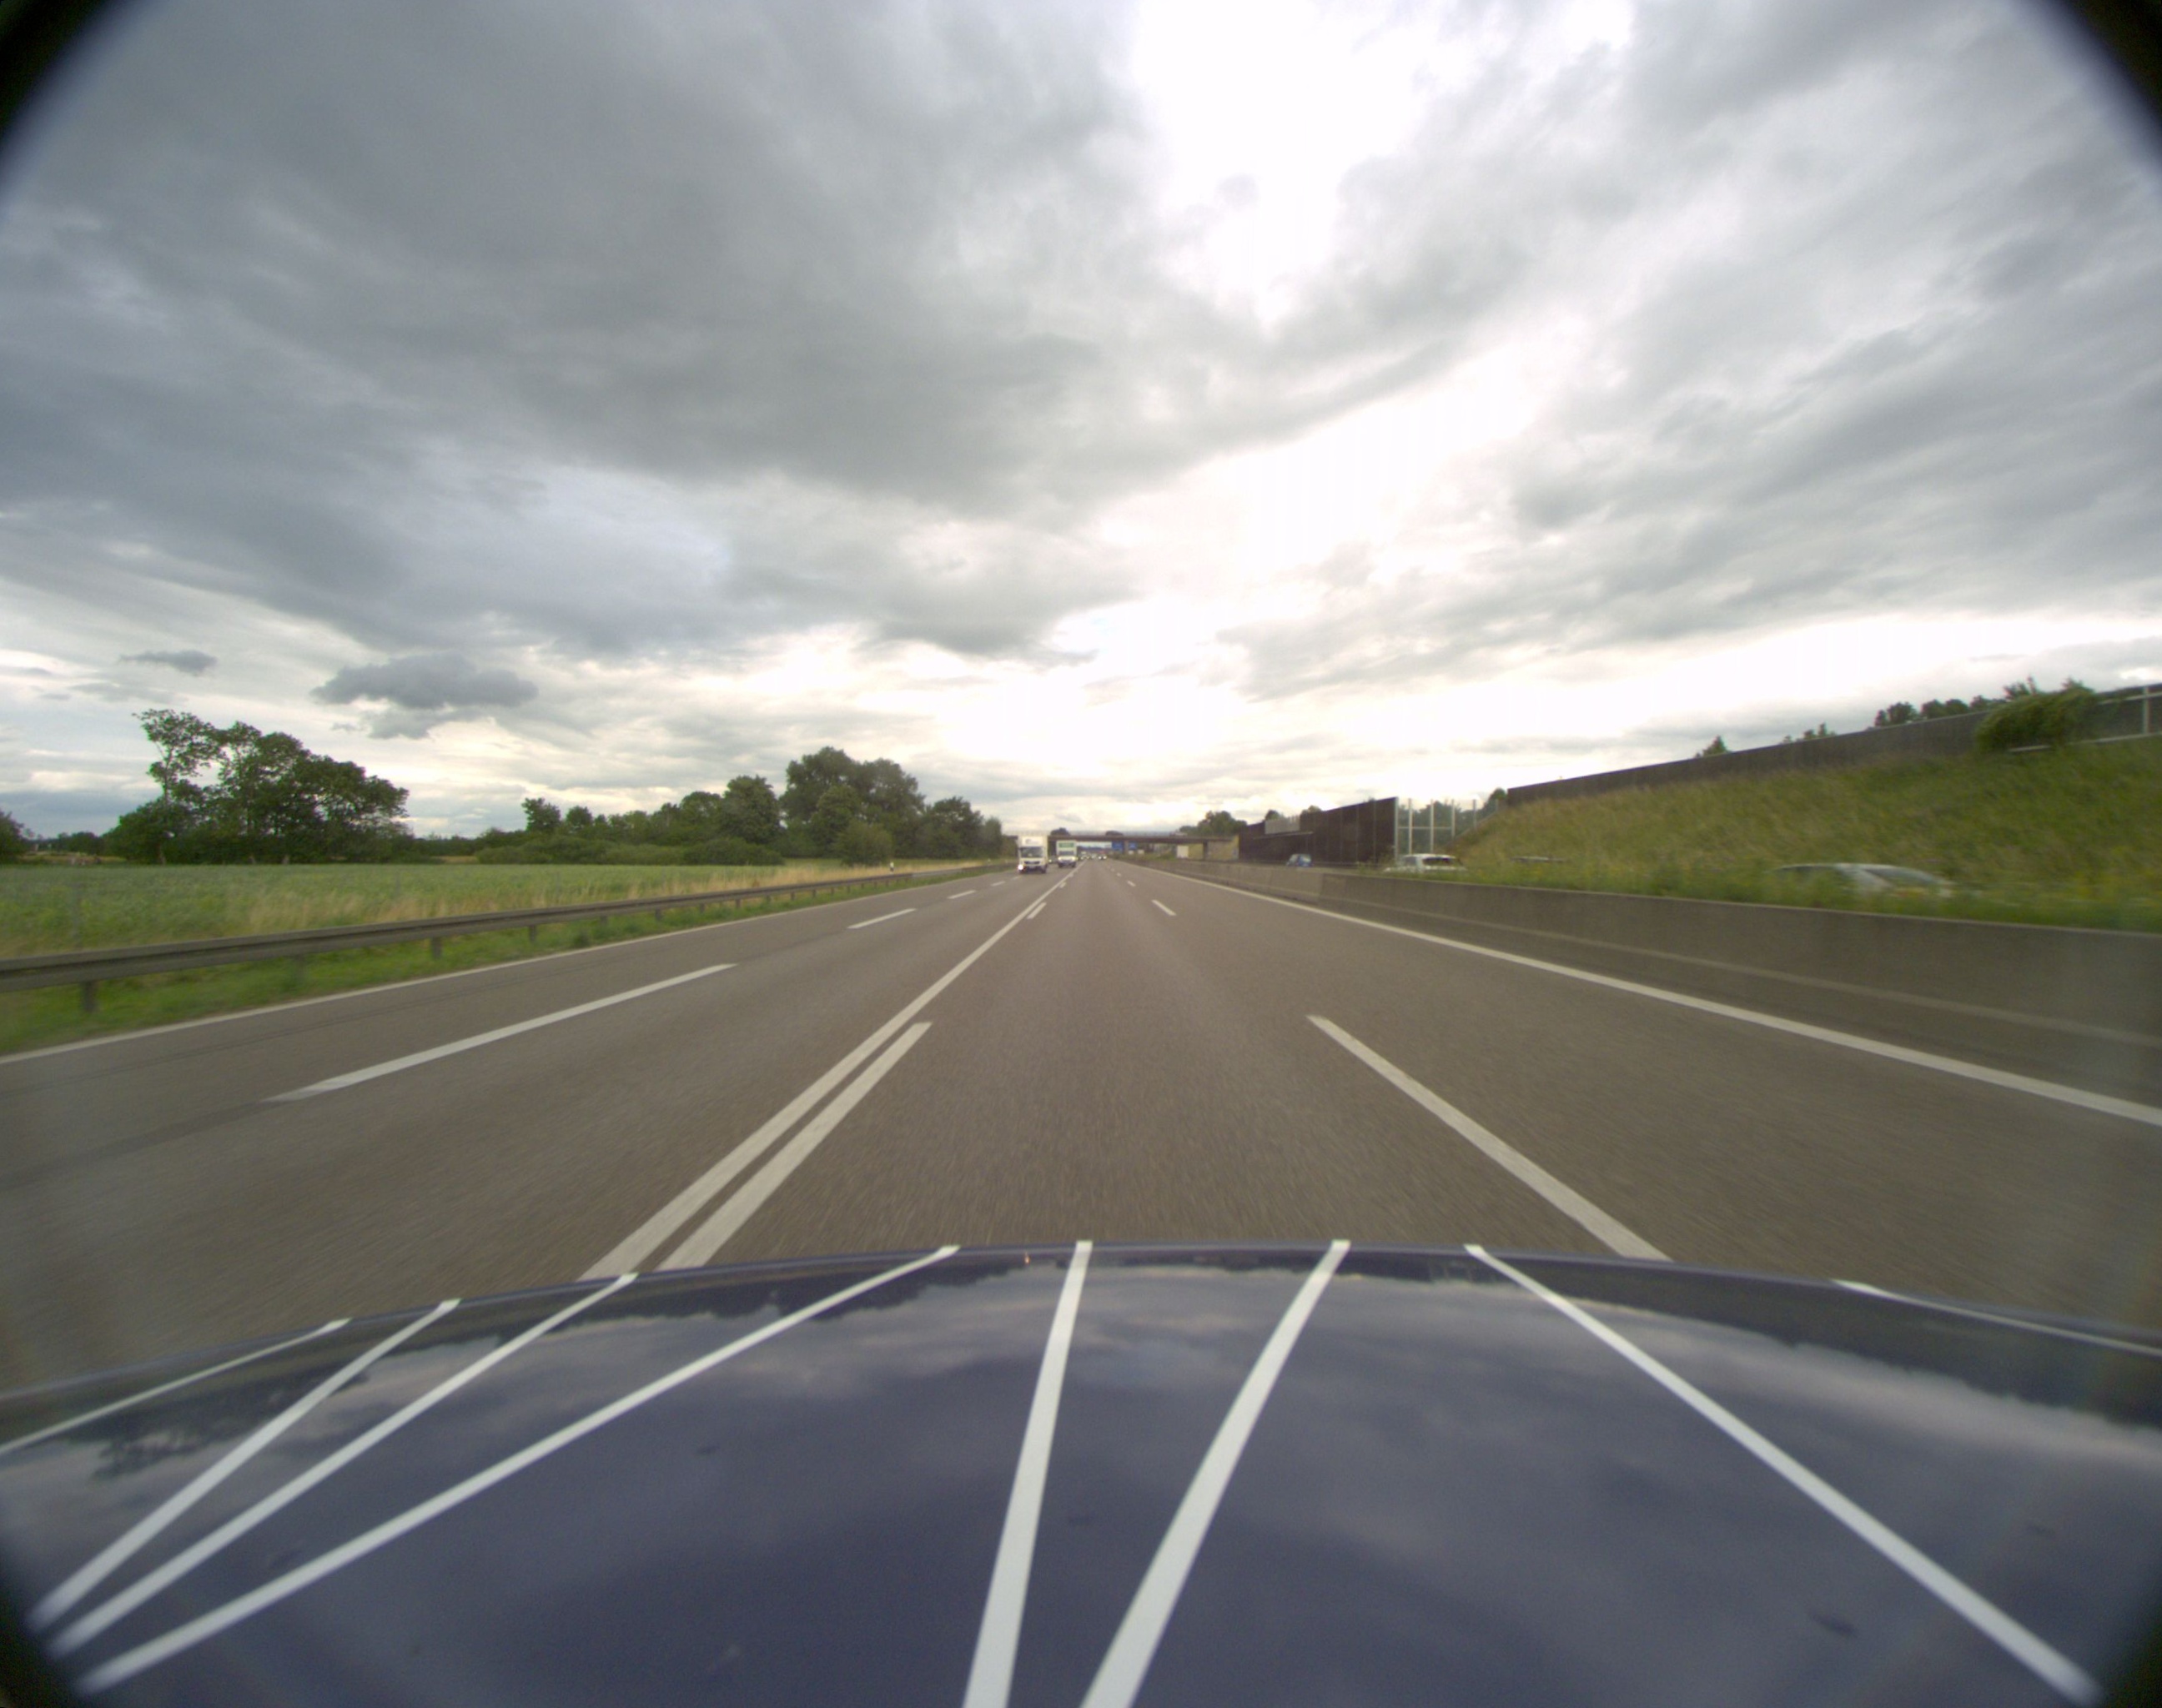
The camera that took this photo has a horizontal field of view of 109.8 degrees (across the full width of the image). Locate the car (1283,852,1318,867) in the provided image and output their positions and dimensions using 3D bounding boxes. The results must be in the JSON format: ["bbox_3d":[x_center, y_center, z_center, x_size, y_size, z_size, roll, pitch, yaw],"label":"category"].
[{"bbox_3d":[21.546,0.542,74.683,1.998,1.356,4.940,-2,0,1],"label":"car"}]

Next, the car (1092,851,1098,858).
[{"bbox_3d":[4.315,0.189,233.924,1.998,2.002,4.000,0,0,1],"label":"car"}]

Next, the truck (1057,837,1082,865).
[{"bbox_3d":[-1.391,-0.362,97.970,2.777,3.484,9.062,-2,0,1],"label":"truck"}]

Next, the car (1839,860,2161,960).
[{"bbox_3d":[14.900,0.783,12.234,1.715,1.264,3.699,-2,0,0],"label":"car"}]

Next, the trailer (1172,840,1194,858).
[{"bbox_3d":[24.177,-1.094,180.729,3.680,3.957,12.678,-2,0,1],"label":"trailer"}]

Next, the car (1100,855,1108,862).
[{"bbox_3d":[6.457,1.275,214.039,1.998,2.002,4.000,0,0,1],"label":"car"}]

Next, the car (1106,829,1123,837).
[{"bbox_3d":[8.493,-5.320,194.280,3.999,2.002,1.999,-2,0,-7],"label":"car"}]

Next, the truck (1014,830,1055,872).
[{"bbox_3d":[-4.160,-0.272,69.839,3.112,3.450,8.890,-2,0,0],"label":"truck"}]

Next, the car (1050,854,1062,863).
[{"bbox_3d":[-4.676,0.821,141.673,1.922,1.541,4.924,0,0,1],"label":"car"}]

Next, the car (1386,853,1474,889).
[{"bbox_3d":[13.557,0.613,29.734,1.715,1.264,3.699,-2,0,0],"label":"car"}]
